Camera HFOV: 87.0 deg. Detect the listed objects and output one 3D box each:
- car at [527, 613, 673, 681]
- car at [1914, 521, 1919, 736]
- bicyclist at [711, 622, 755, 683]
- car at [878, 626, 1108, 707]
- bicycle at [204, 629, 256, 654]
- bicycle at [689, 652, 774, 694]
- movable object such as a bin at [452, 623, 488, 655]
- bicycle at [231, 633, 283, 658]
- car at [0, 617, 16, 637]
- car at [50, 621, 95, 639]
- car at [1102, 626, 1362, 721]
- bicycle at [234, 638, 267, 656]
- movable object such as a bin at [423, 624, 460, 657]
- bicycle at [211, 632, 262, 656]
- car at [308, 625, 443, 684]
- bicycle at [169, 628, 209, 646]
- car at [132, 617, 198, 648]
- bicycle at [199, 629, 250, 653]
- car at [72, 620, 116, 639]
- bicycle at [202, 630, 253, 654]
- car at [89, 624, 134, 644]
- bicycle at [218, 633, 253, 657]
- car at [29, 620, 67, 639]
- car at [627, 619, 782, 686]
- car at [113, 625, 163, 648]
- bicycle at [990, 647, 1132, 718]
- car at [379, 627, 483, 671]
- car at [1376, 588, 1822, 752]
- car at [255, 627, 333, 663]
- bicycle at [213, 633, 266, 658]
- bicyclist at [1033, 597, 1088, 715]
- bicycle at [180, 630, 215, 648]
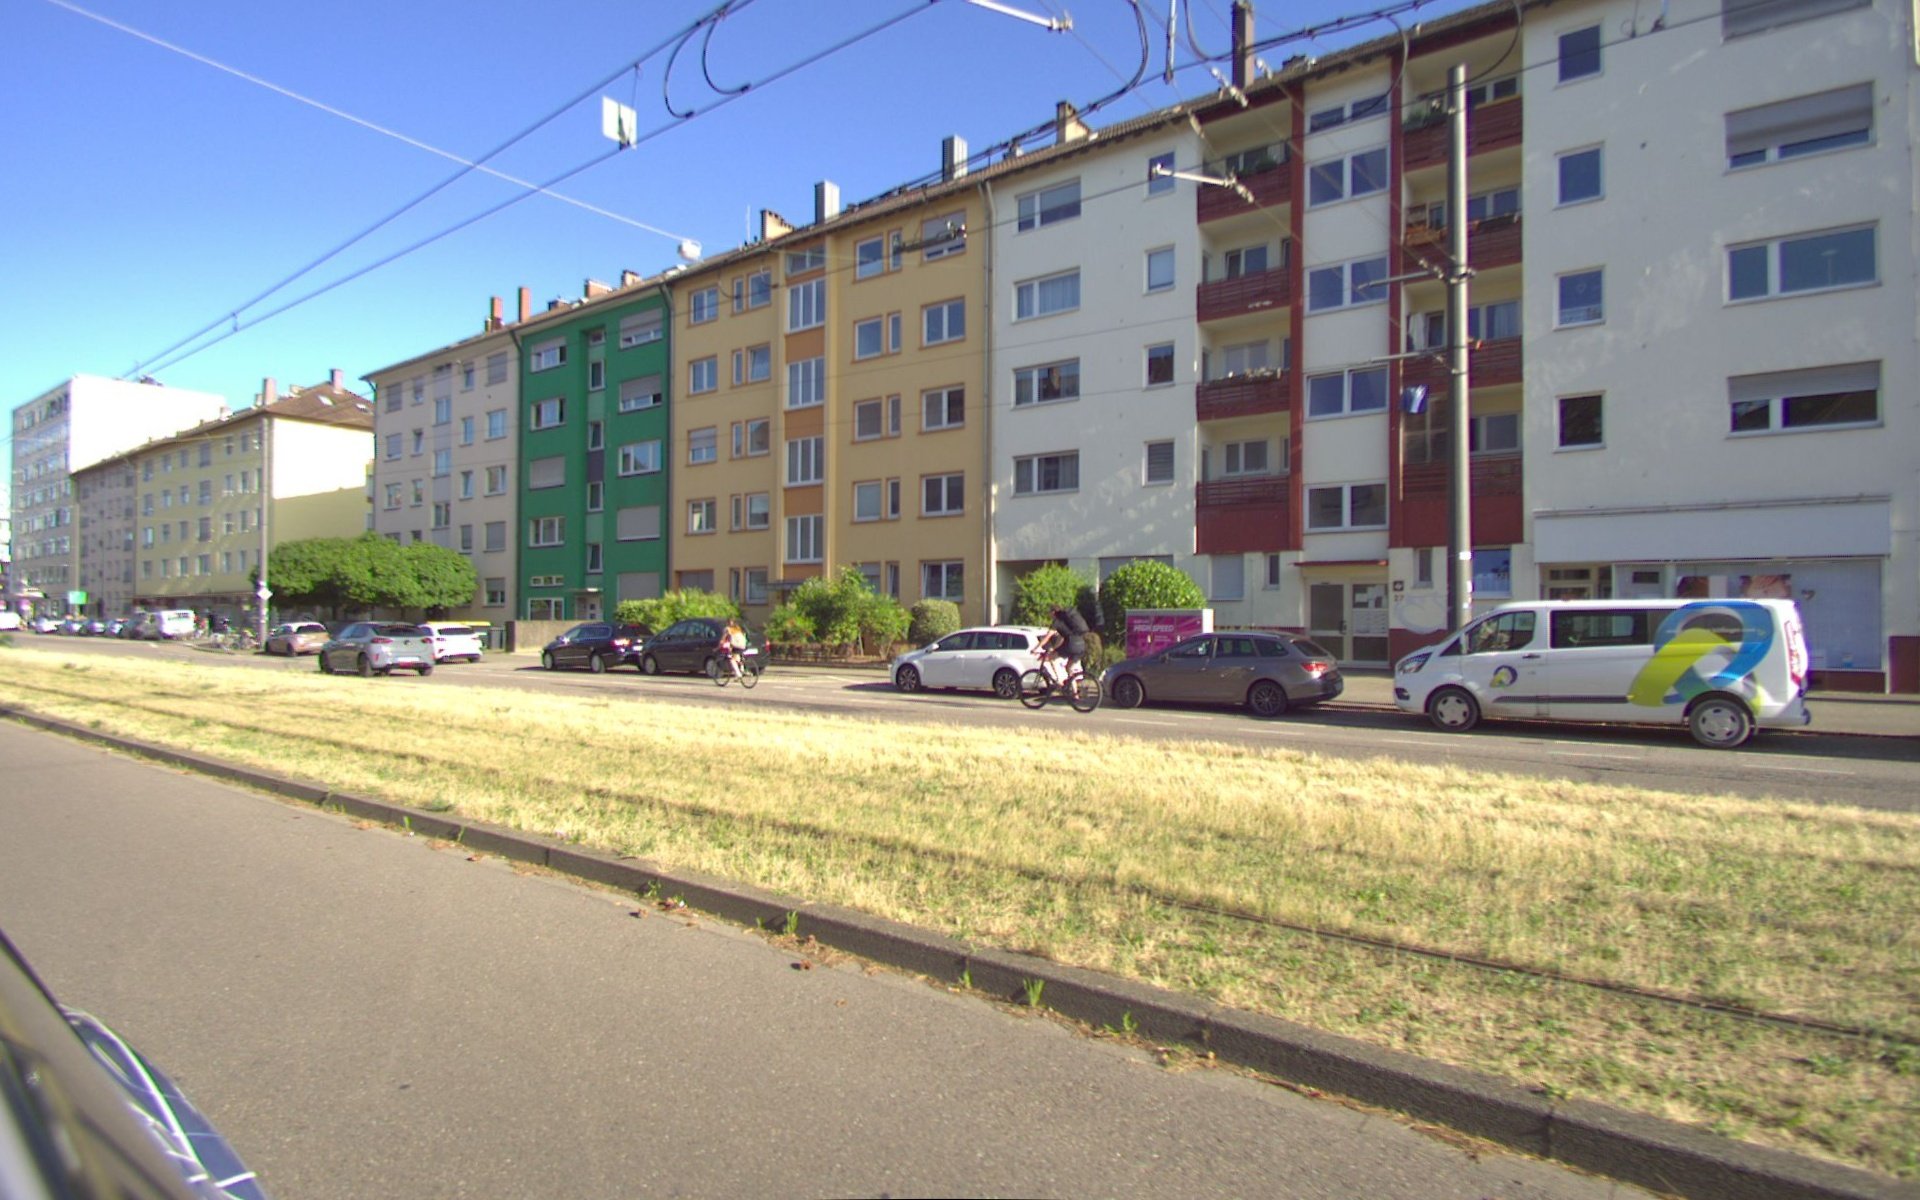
[{"bbox_3d":[-11.022,1.371,30.853,4.601,1.851,1.975,-1,1,37],"label":"car"},{"bbox_3d":[14.872,0.364,11.074,6.219,2.890,2.013,-1,0,38],"label":"car"},{"bbox_3d":[-5.271,1.212,23.509,0.647,1.394,0.765,-1,-2,37],"label":"bicyclist"},{"bbox_3d":[0.634,1.351,21.771,4.692,1.503,1.876,-1,0,35],"label":"car"},{"bbox_3d":[-37.144,2.101,51.523,0.615,1.101,2.026,-1,1,43],"label":"bicycle"},{"bbox_3d":[-5.329,1.676,23.539,2.065,0.886,0.761,-1,-3,38],"label":"bicycle"},{"bbox_3d":[-22.663,1.780,46.792,1.038,1.378,1.135,0,1,39],"label":"movable object such as a bin"},{"bbox_3d":[-34.786,2.228,50.072,2.019,1.101,0.617,-2,1,-26],"label":"bicycle"},{"bbox_3d":[-97.772,2.754,102.636,4.659,1.912,1.977,-1,1,35],"label":"car"},{"bbox_3d":[-73.519,2.437,83.836,4.405,1.395,1.768,-1,1,35],"label":"car"},{"bbox_3d":[4.944,1.263,18.657,4.315,1.526,1.680,-1,-1,35],"label":"car"},{"bbox_3d":[-34.415,2.267,49.072,2.043,0.872,0.374,-1,1,26],"label":"bicycle"},{"bbox_3d":[-23.476,1.815,45.799,1.038,1.378,1.135,0,1,39],"label":"movable object such as a bin"},{"bbox_3d":[-36.549,2.201,51.141,0.615,1.101,2.026,-1,1,43],"label":"bicycle"},{"bbox_3d":[-15.760,1.413,27.216,4.211,1.459,1.678,-1,-3,38],"label":"car"},{"bbox_3d":[-51.916,2.503,68.155,0.472,1.114,2.078,-1,1,37],"label":"bicycle"},{"bbox_3d":[-55.423,2.239,70.521,5.486,1.964,1.977,-1,1,34],"label":"car"},{"bbox_3d":[-38.104,2.098,52.466,0.615,1.101,2.026,-1,1,43],"label":"bicycle"},{"bbox_3d":[-69.096,2.337,80.711,4.407,1.431,1.767,-1,1,37],"label":"car"},{"bbox_3d":[-37.621,2.168,52.016,0.615,1.101,2.026,-1,1,43],"label":"bicycle"},{"bbox_3d":[-64.724,2.552,77.195,3.761,1.395,1.767,-1,1,37],"label":"car"},{"bbox_3d":[-34.659,2.135,48.409,1.925,1.101,0.506,-1,1,26],"label":"bicycle"},{"bbox_3d":[-80.195,2.582,88.973,4.192,1.497,1.742,-1,1,37],"label":"car"},{"bbox_3d":[-7.085,1.385,27.960,4.144,1.620,1.975,-1,1,37],"label":"car"},{"bbox_3d":[-59.929,2.627,73.763,4.588,1.485,1.767,-1,1,37],"label":"car"},{"bbox_3d":[1.759,1.430,17.941,2.470,1.155,0.761,-1,-4,38],"label":"bicycle"},{"bbox_3d":[-19.508,1.763,37.267,4.369,1.465,1.712,-1,-1,37],"label":"car"},{"bbox_3d":[9.347,0.899,15.213,5.363,2.036,2.013,-1,1,38],"label":"car"},{"bbox_3d":[-29.705,1.981,45.122,3.725,1.453,1.622,-1,1,35],"label":"car"},{"bbox_3d":[-36.052,2.252,50.661,0.615,1.101,2.026,-1,1,43],"label":"bicycle"},{"bbox_3d":[1.794,0.980,18.027,0.647,2.029,0.766,-1,1,37],"label":"bicyclist"},{"bbox_3d":[-50.434,2.559,66.926,0.390,1.114,1.802,-1,1,37],"label":"bicycle"}]
